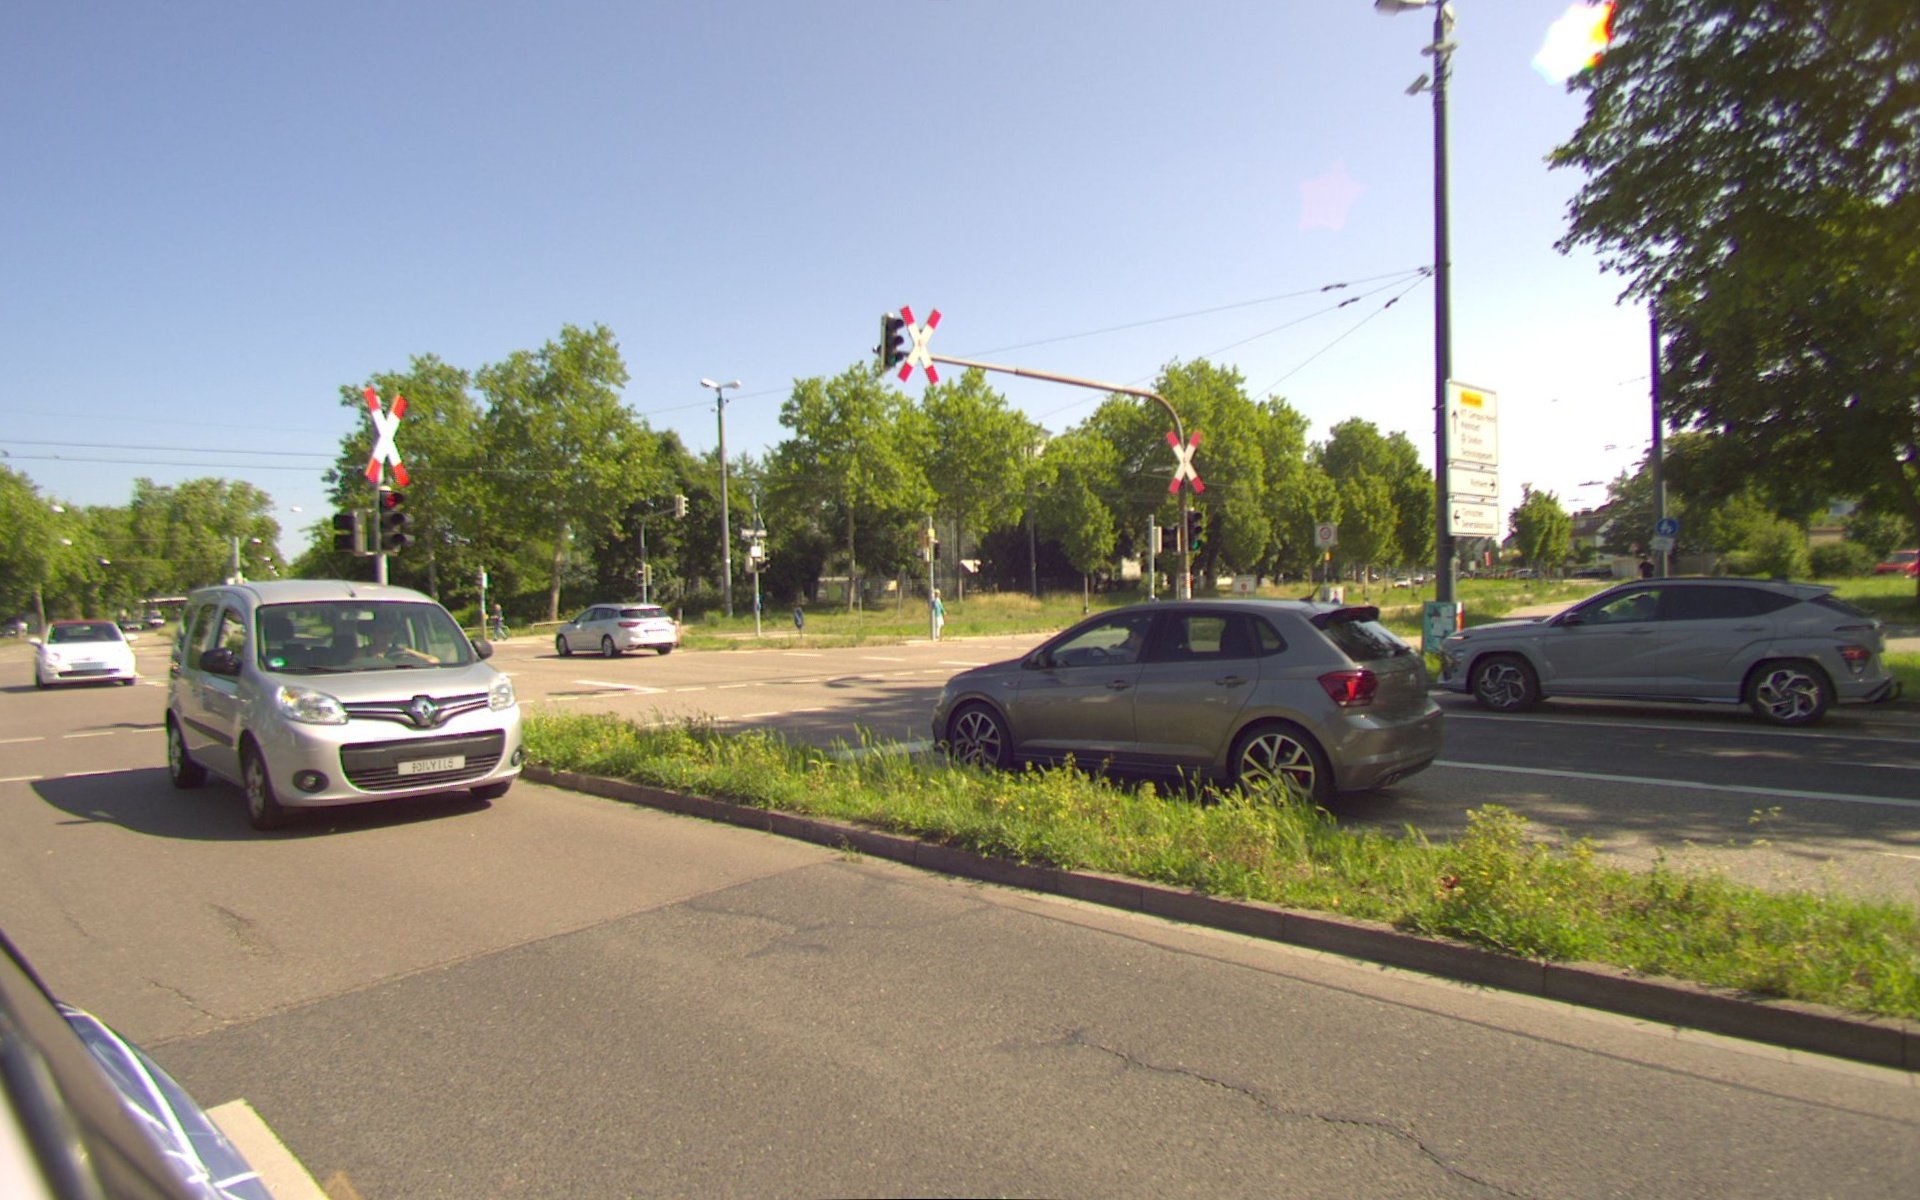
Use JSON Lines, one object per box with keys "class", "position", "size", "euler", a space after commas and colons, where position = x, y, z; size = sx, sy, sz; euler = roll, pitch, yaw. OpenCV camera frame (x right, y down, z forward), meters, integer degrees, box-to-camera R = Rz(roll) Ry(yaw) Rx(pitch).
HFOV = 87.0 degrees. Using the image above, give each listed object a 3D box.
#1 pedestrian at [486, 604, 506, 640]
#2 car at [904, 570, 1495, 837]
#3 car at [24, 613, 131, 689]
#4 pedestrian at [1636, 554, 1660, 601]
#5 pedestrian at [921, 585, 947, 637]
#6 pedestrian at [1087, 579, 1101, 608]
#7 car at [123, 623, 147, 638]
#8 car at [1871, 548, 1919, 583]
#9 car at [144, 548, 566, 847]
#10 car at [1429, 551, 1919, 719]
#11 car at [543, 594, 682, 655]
{"class": "pedestrian", "position": [-20.145, 0.953, 43.933], "size": [0.568, 1.546, 0.599], "euler": [-2, 0, 42]}
{"class": "car", "position": [1.631, 0.615, 7.823], "size": [4.128, 1.519, 1.676], "euler": [-2, 0, 42]}
{"class": "car", "position": [-19.989, 1.098, 23.036], "size": [1.664, 1.502, 4.383], "euler": [-2, 0, -40]}
{"class": "pedestrian", "position": [29.872, -0.981, 43.925], "size": [0.712, 2.029, 0.785], "euler": [-2, 0, 43]}
{"class": "pedestrian", "position": [-0.797, 0.340, 31.347], "size": [0.665, 1.572, 0.363], "euler": [-2, 0, 27]}
{"class": "pedestrian", "position": [9.935, -0.482, 75.030], "size": [0.754, 2.106, 0.610], "euler": [-1, 1, 41]}
{"class": "car", "position": [-118.035, 4.323, 144.837], "size": [1.966, 2.029, 4.012], "euler": [-2, 0, -29]}
{"class": "car", "position": [49.207, -1.777, 51.942], "size": [3.920, 1.715, 1.820], "euler": [-2, 1, -16]}
{"class": "car", "position": [-5.222, 0.625, 8.461], "size": [4.375, 1.854, 1.852], "euler": [-1, 0, 43]}
{"class": "car", "position": [7.989, 0.381, 11.631], "size": [4.428, 1.601, 1.692], "euler": [-2, -1, 39]}
{"class": "car", "position": [-9.703, 0.676, 28.074], "size": [4.662, 1.519, 1.675], "euler": [-1, 0, 44]}
